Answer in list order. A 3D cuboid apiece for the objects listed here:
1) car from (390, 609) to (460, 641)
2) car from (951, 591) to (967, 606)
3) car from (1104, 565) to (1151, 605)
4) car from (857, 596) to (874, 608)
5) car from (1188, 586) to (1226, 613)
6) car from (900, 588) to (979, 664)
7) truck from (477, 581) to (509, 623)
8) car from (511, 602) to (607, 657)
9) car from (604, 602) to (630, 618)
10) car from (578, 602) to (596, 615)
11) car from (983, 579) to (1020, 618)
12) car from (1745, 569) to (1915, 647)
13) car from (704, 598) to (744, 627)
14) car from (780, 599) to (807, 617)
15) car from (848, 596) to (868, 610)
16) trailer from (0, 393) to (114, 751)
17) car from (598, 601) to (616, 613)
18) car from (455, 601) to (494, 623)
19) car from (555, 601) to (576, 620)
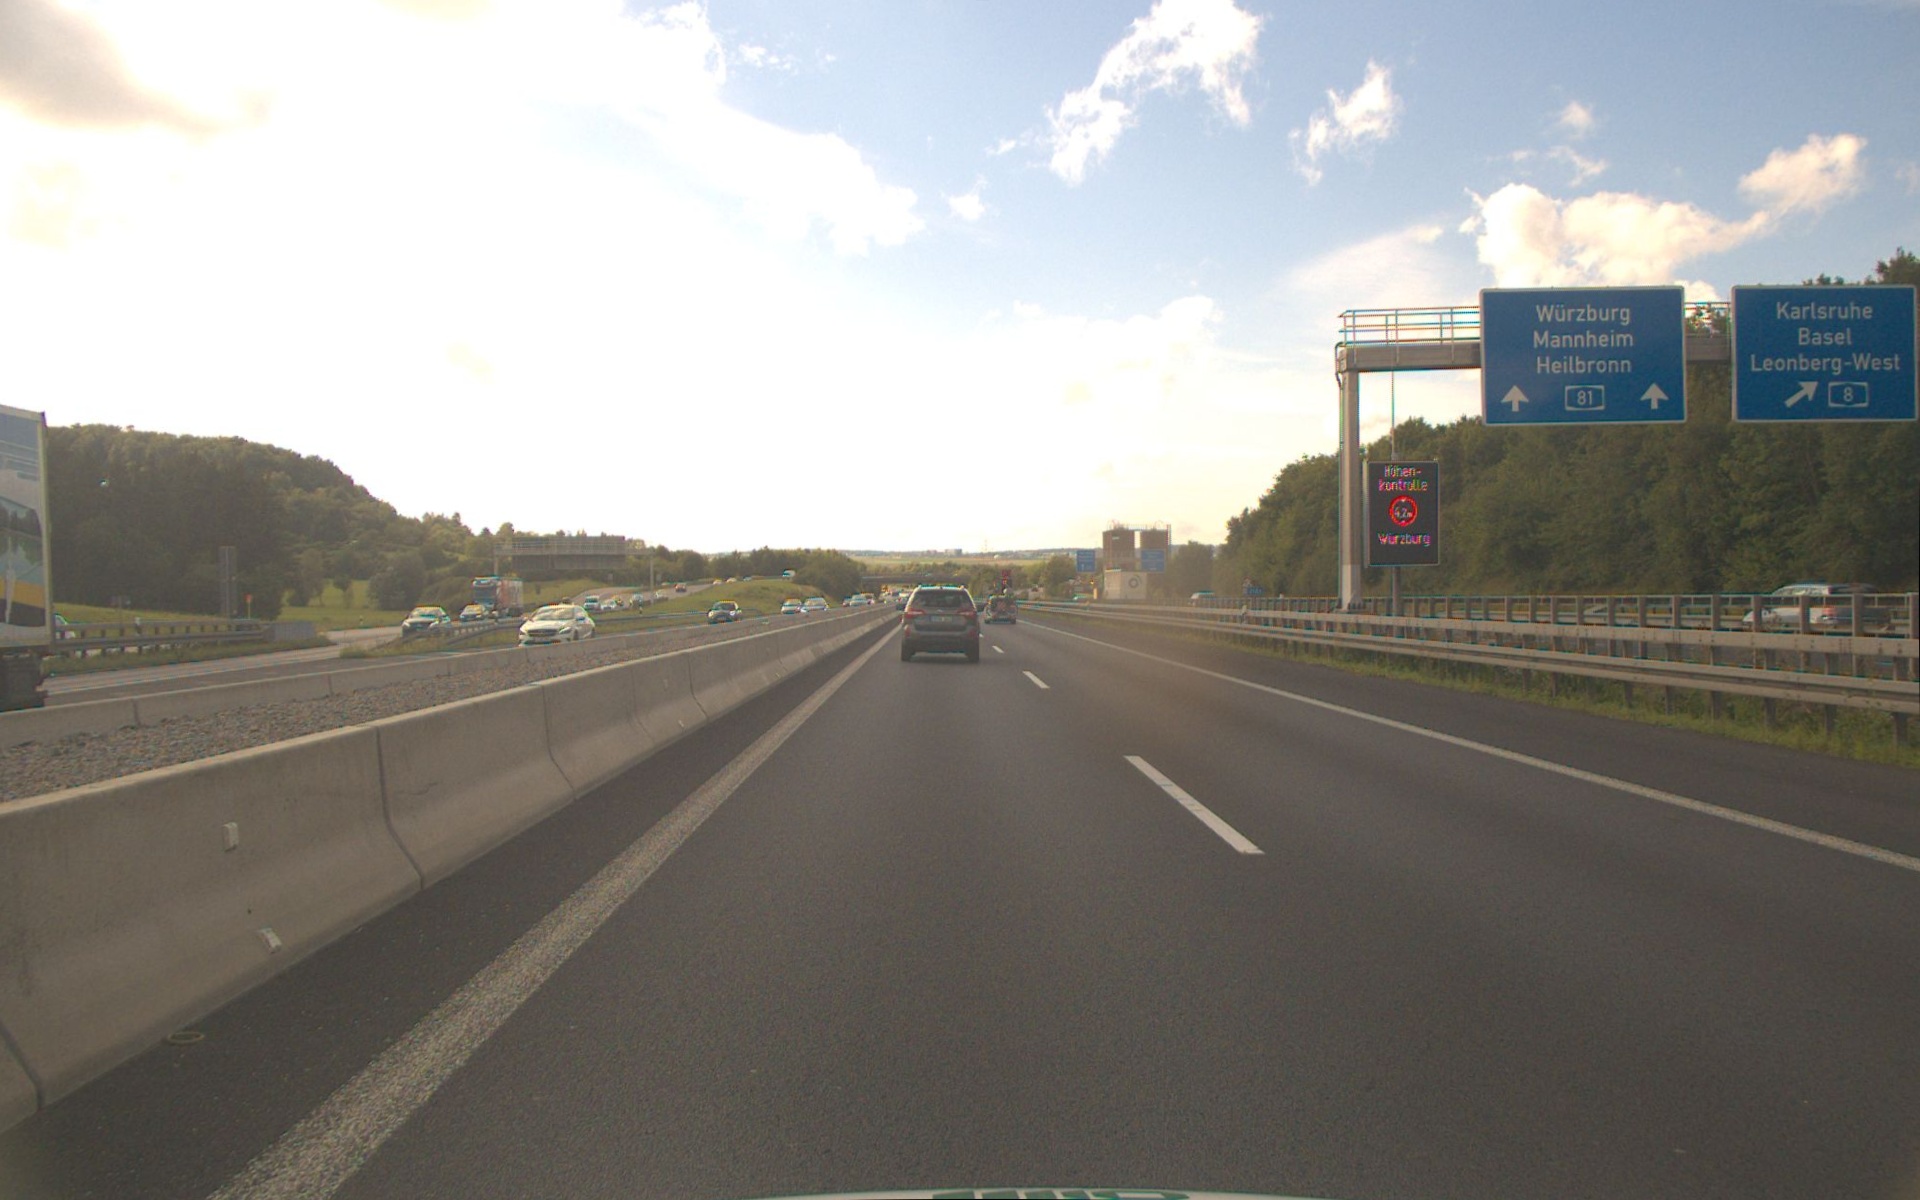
[{"bbox_3d":[-26.256,1.210,81.340,1.954,1.476,5.000,-2,0,-2],"label":"car"},{"bbox_3d":[-0.164,-0.187,216.867,1.935,1.810,4.119,-2,0,-1],"label":"car"},{"bbox_3d":[16.216,-1.418,160.613,3.504,3.741,7.547,-2,0,-1],"label":"car"},{"bbox_3d":[-11.992,0.255,209.975,1.953,1.559,5.746,-2,0,-1],"label":"car"},{"bbox_3d":[17.014,-0.024,114.005,1.953,1.747,3.999,-2,0,-1],"label":"car"},{"bbox_3d":[-0.450,0.582,39.006,1.714,1.659,3.609,-2,0,0],"label":"car"},{"bbox_3d":[-44.021,0.222,155.958,1.955,3.827,5.144,-2,0,-6],"label":"truck"},{"bbox_3d":[-13.005,0.936,53.957,1.953,1.646,5.001,-2,0,-1],"label":"car"},{"bbox_3d":[-35.329,1.009,170.386,1.903,1.520,4.127,-2,0,-1],"label":"car"},{"bbox_3d":[-48.016,1.044,212.943,1.738,1.575,4.883,-2,0,-6],"label":"car"},{"bbox_3d":[2.378,-0.090,95.951,1.953,2.117,3.999,-2,0,-1],"label":"car"},{"bbox_3d":[21.037,0.192,40.189,1.953,1.738,3.999,-2,0,-1],"label":"car"},{"bbox_3d":[-13.874,0.716,97.458,1.764,1.646,4.301,-2,0,-1],"label":"car"},{"bbox_3d":[-14.233,0.668,141.602,1.953,1.481,4.180,-2,0,-1],"label":"car"},{"bbox_3d":[-11.448,0.333,185.687,1.953,1.559,5.020,-2,0,-1],"label":"car"},{"bbox_3d":[-12.408,-0.311,15.303,2.438,4.201,13.280,-2,0,-1],"label":"trailer"},{"bbox_3d":[-42.070,0.851,197.089,1.740,1.425,4.389,-2,0,-9],"label":"car"},{"bbox_3d":[-37.144,0.912,126.633,1.764,1.646,4.301,-2,0,-1],"label":"car"},{"bbox_3d":[-42.672,1.120,178.961,1.739,1.930,4.391,-2,0,-7],"label":"car"}]
